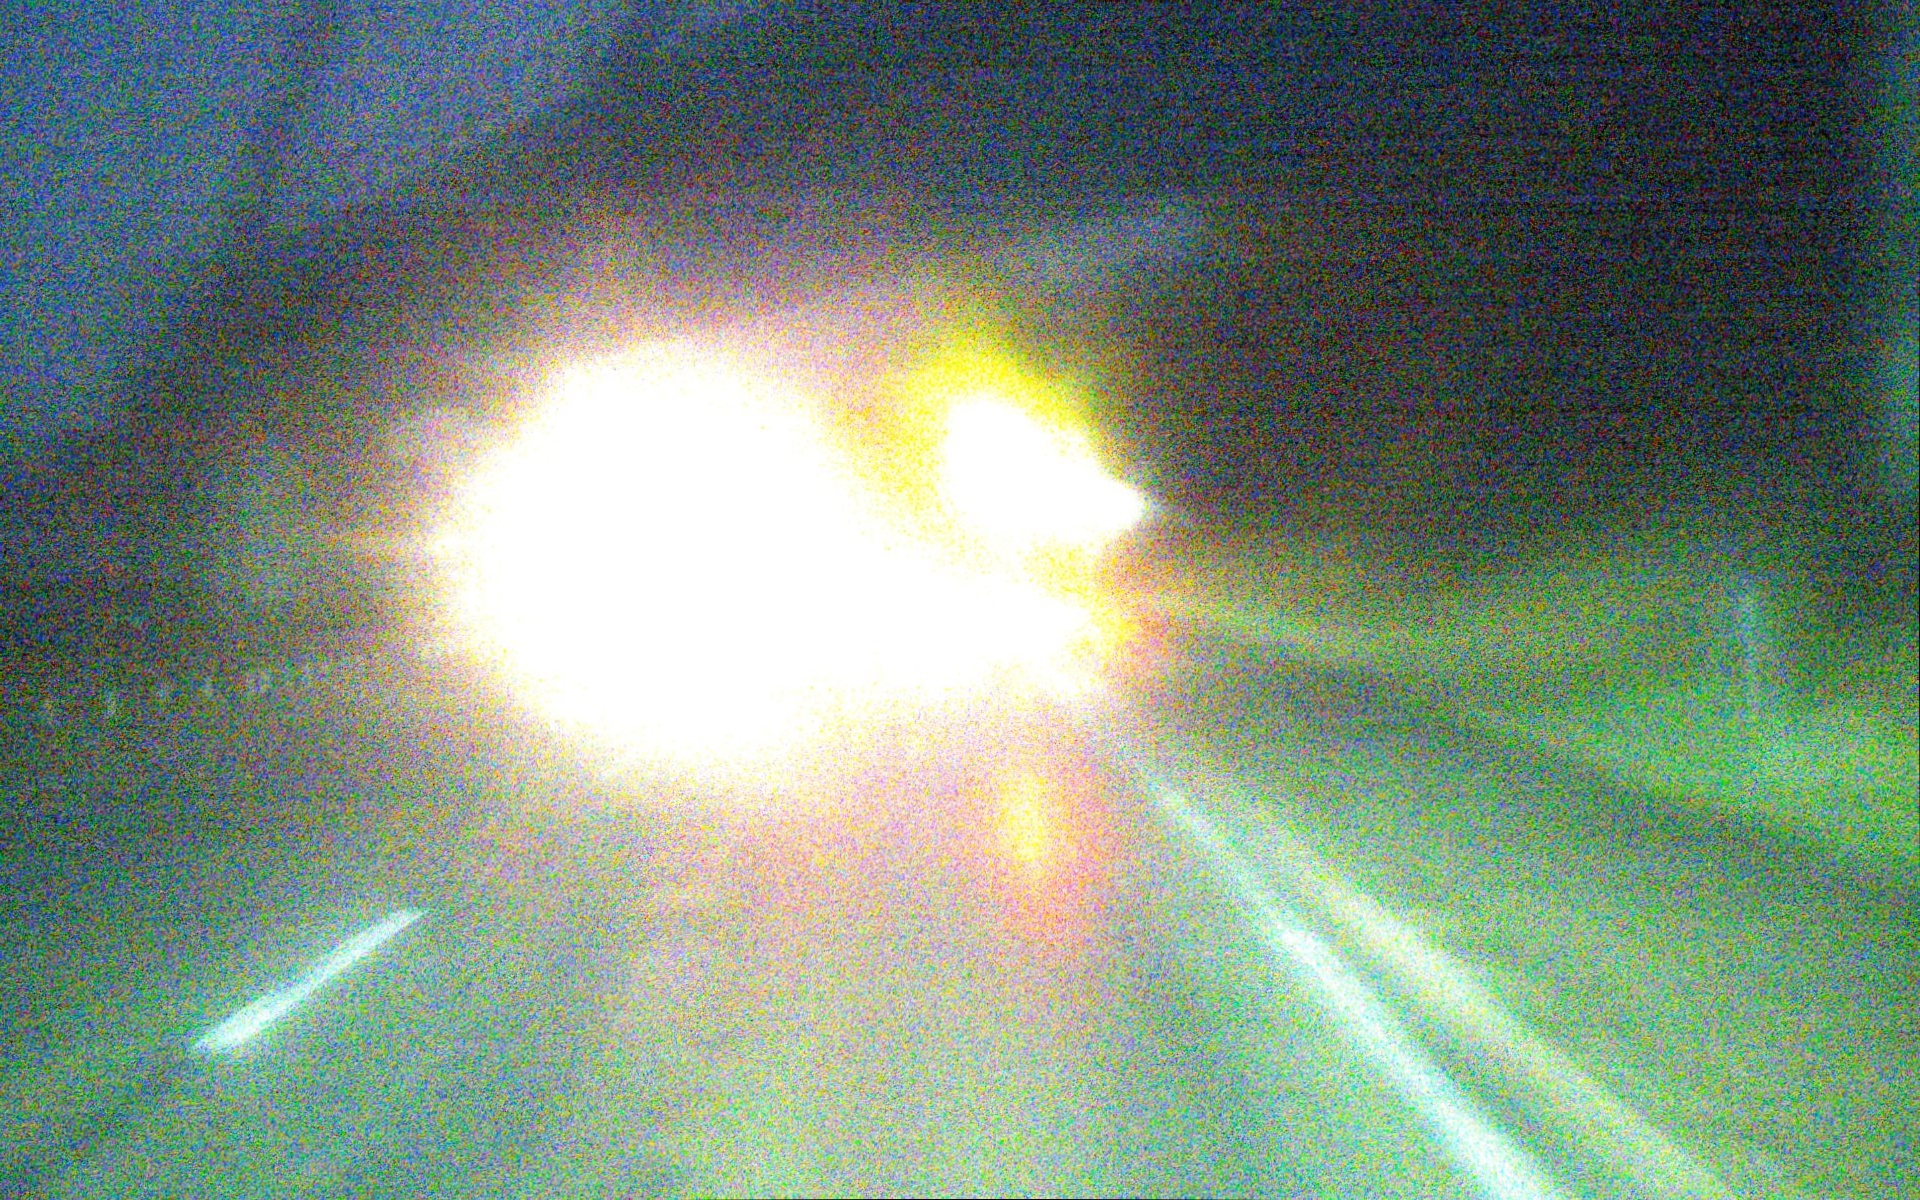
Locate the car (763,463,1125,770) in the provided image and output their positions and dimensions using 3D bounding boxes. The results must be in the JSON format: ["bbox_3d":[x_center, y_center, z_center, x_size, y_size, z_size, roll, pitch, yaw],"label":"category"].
[{"bbox_3d":[-0.163,0.061,28.922,2.715,2.299,6.101,0,1,-1],"label":"car"}]

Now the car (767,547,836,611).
[{"bbox_3d":[-4.915,-0.663,106.202,1.993,1.908,4.001,1,0,-4],"label":"car"}]
